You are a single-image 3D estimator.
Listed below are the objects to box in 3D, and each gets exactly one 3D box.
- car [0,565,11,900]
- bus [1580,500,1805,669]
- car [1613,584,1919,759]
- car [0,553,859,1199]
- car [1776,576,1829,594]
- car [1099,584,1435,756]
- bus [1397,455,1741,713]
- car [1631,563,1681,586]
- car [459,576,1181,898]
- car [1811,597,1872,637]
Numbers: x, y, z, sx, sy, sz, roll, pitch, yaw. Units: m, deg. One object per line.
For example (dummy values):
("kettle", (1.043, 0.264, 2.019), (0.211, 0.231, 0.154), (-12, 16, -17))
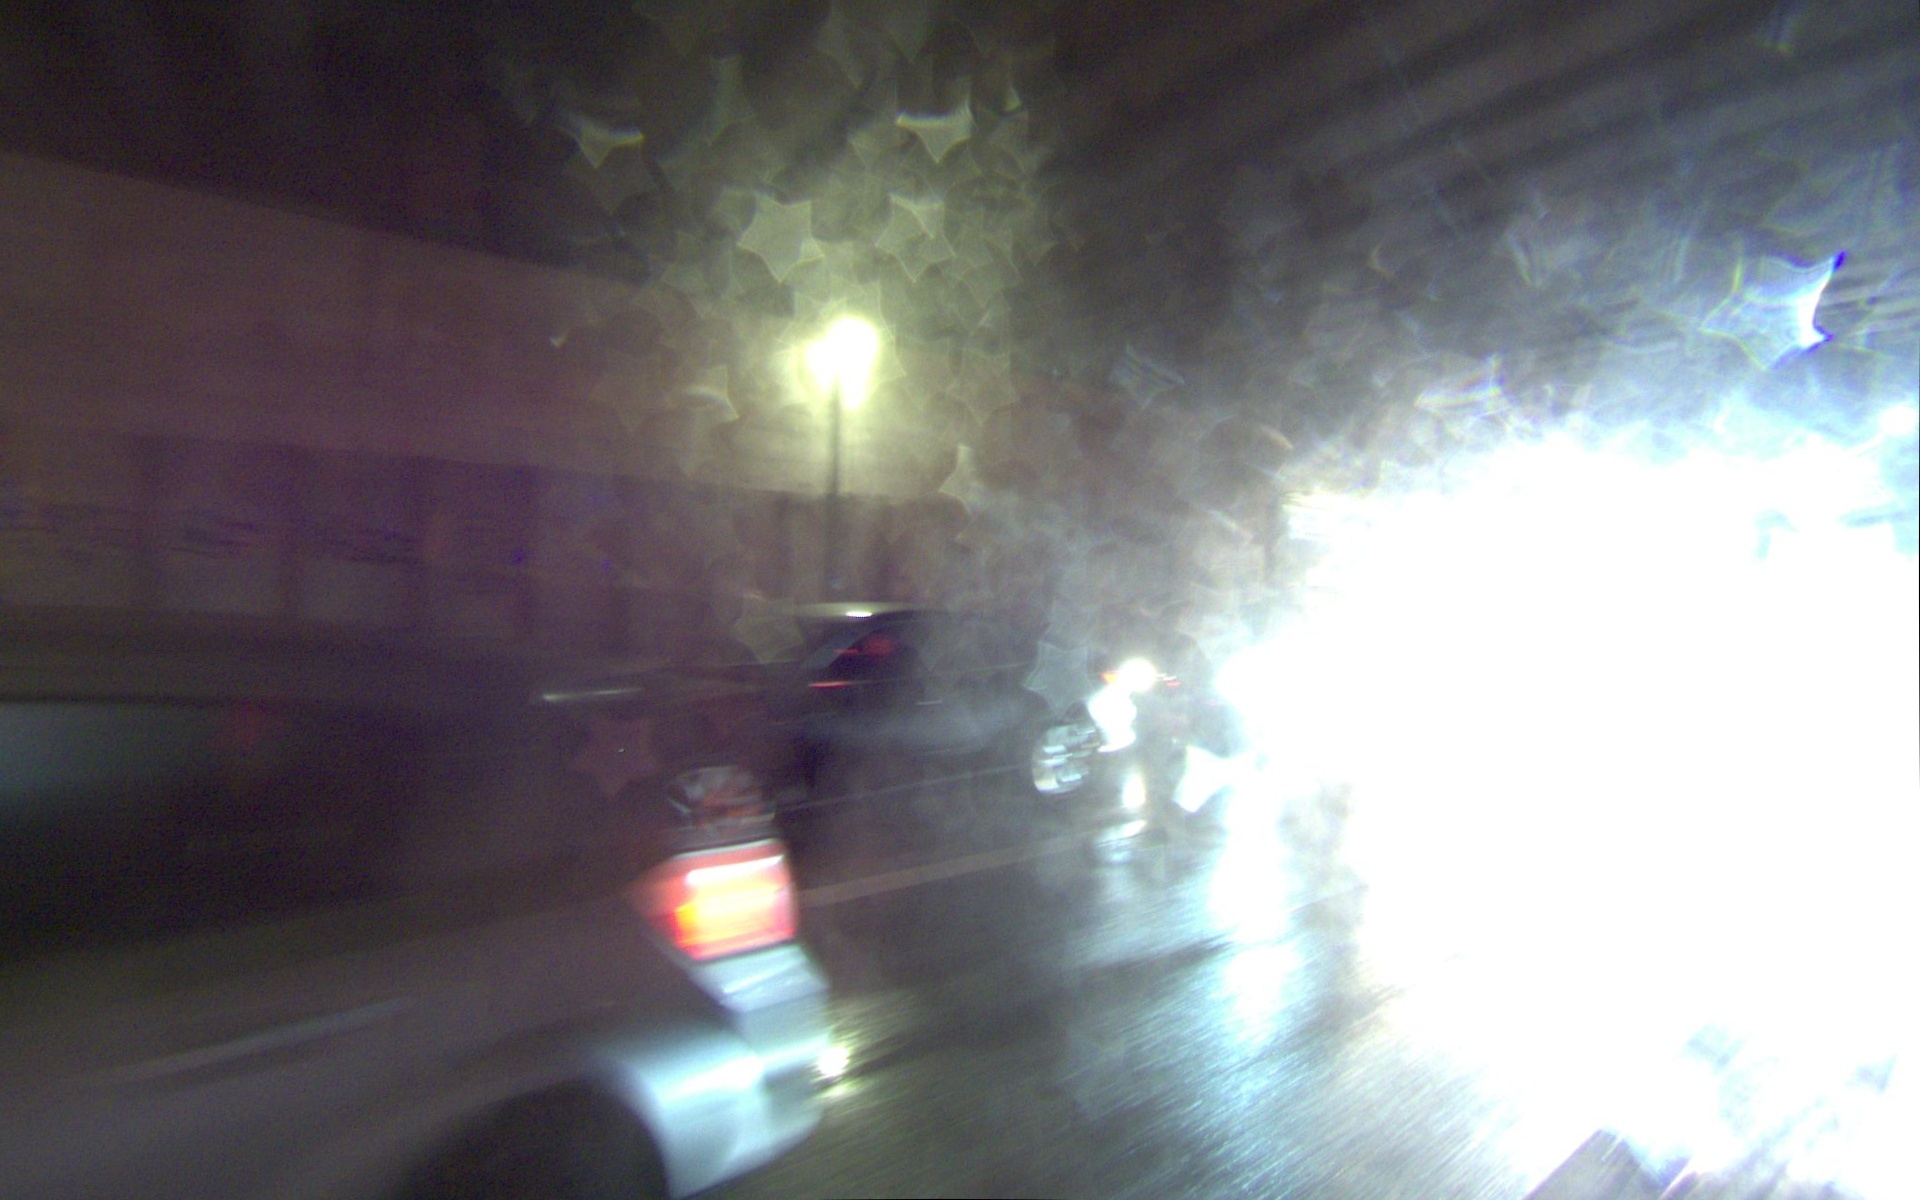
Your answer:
("car", (-5.505, 0.615, 2.785), (4.087, 1.464, 1.724), (0, 2, -39))
("bus", (17.634, -0.361, 24.007), (9.540, 3.279, 2.736), (-1, 1, -44))
("car", (8.656, 0.639, 10.696), (4.087, 1.506, 1.723), (0, -2, -39))
("car", (-2.323, 0.663, 1.394), (4.087, 1.464, 1.724), (0, 1, -39))
("car", (69.045, -1.227, 82.981), (1.878, 1.407, 4.806), (0, 1, 21))
("car", (3.521, 0.608, 11.202), (4.092, 1.505, 1.722), (-1, 3, -43))
("bus", (10.824, -0.267, 17.328), (9.540, 3.318, 2.736), (-1, 1, -44))
("car", (45.658, -1.655, 66.431), (1.687, 1.407, 3.975), (0, 1, 19))
("car", (-0.675, 0.621, 6.938), (4.701, 1.505, 1.724), (0, 2, -39))
("car", (35.939, 0.651, 41.293), (1.750, 1.464, 3.915), (3, 3, 41))
